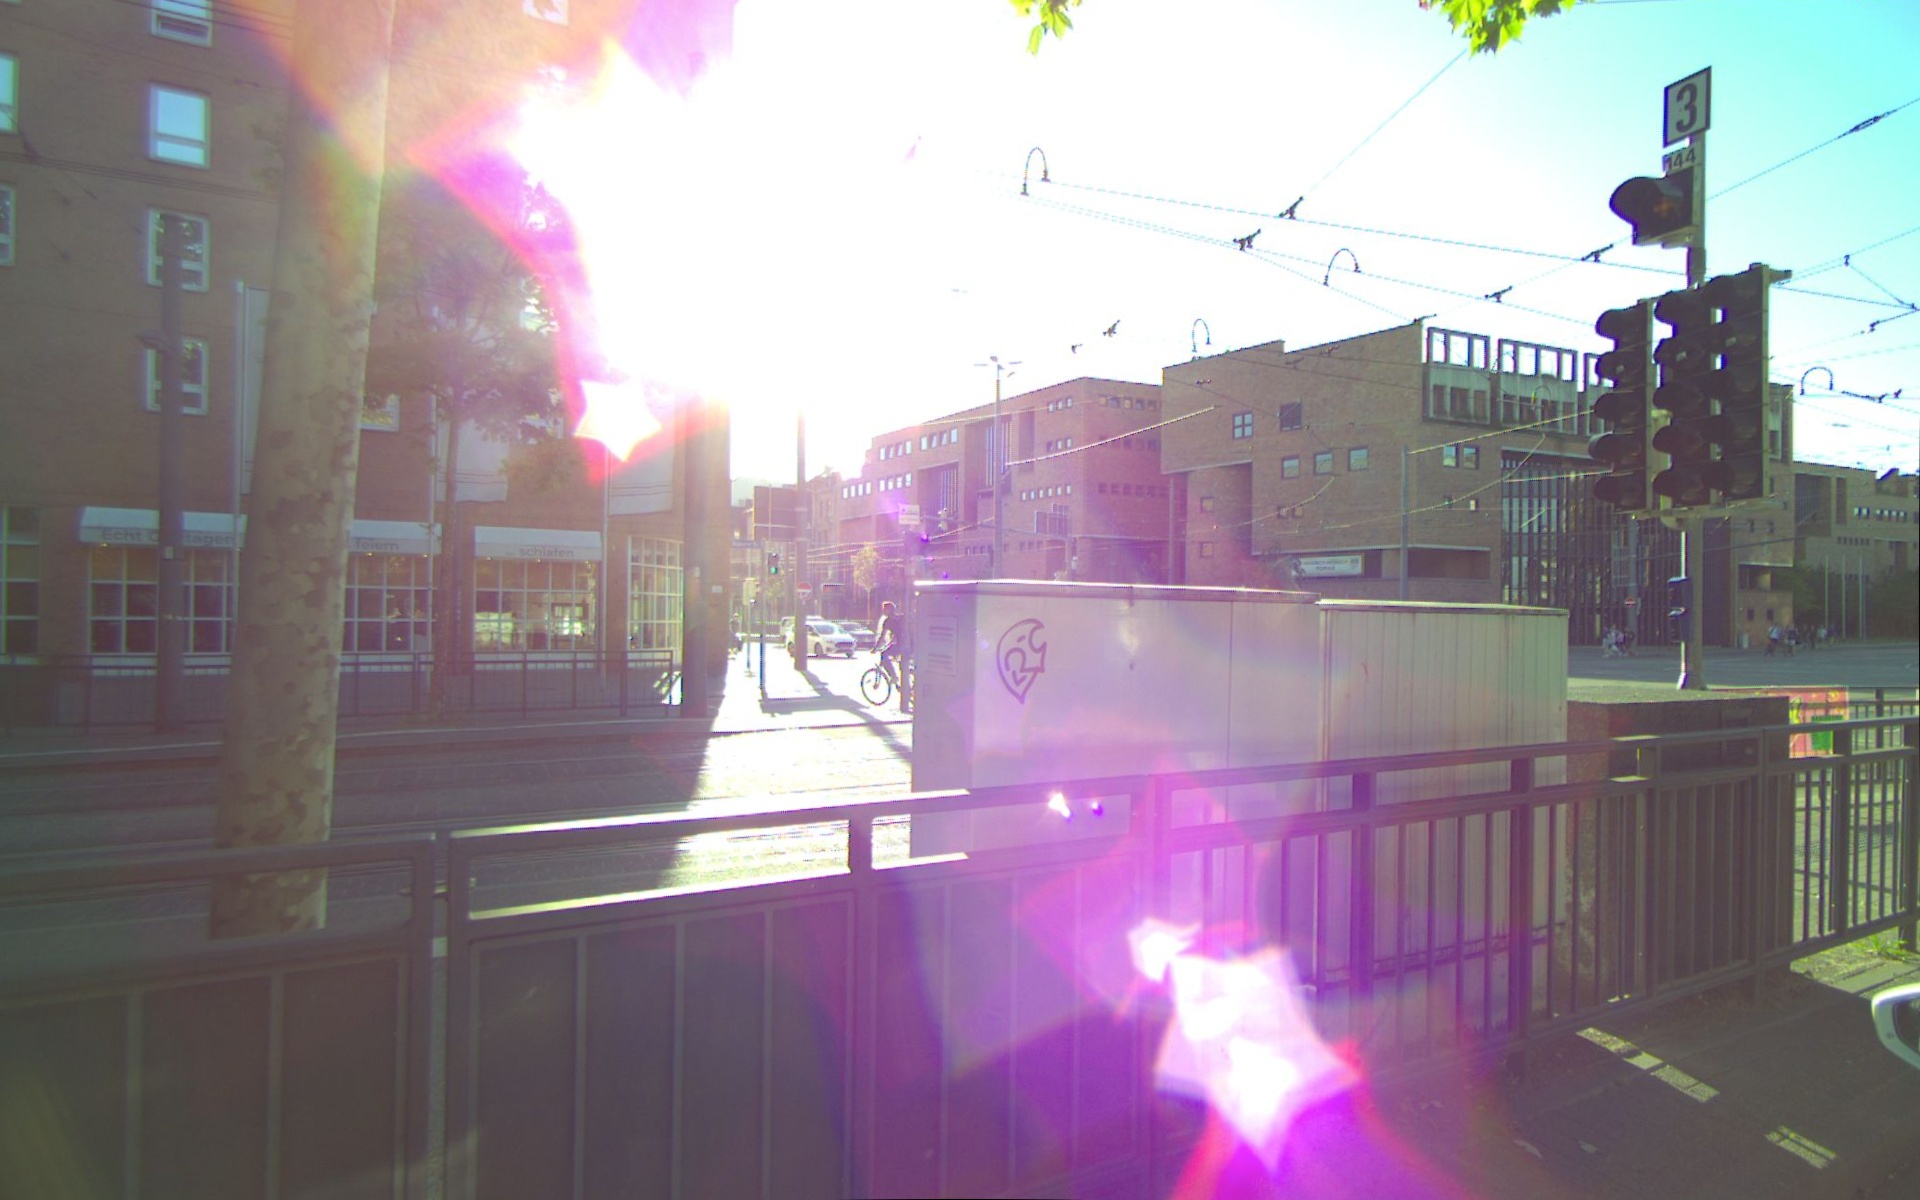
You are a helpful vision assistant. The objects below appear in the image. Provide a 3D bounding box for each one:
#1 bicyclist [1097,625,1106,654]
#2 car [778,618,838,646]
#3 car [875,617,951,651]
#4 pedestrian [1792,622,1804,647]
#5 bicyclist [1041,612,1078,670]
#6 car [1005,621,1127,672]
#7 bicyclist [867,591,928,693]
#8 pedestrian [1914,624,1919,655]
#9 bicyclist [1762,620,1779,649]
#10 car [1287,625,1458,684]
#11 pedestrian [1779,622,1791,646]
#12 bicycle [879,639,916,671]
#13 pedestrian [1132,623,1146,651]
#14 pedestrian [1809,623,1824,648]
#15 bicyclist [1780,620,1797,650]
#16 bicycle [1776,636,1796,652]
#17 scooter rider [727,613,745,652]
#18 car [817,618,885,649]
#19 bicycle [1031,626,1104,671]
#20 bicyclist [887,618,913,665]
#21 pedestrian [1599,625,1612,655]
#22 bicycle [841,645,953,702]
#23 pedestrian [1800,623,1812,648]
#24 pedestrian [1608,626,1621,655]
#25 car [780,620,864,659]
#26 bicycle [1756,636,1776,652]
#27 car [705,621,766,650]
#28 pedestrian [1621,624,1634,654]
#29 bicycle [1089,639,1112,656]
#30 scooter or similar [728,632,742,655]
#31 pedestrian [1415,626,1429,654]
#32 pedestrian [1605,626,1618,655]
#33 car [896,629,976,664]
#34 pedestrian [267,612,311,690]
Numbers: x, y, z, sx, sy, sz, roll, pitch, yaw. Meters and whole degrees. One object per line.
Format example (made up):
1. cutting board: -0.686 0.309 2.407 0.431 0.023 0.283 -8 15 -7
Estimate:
1. bicyclist: 10.305 2.876 73.210 0.447 2.087 0.557 1 -1 -34
2. car: -9.604 1.993 63.167 1.981 1.719 4.315 1 -2 -36
3. car: -2.523 1.796 53.325 1.981 1.719 4.315 1 -2 -36
4. pedestrian: 63.685 2.628 76.320 0.538 1.834 0.488 1 -1 -23
5. bicyclist: 2.952 1.201 29.890 0.683 1.703 0.899 1 -1 -31
6. car: 3.544 1.534 34.340 1.805 1.604 4.457 1 -1 -32
7. bicyclist: -1.151 0.764 18.513 0.839 1.809 0.750 -1 -1 37
8. pedestrian: 47.445 1.946 49.362 0.503 1.550 0.749 1 0 -37
9. bicyclist: 46.591 1.984 57.743 0.782 1.697 0.589 1 -1 -36
10. car: 11.175 1.435 27.435 1.979 1.476 3.931 1 -2 -33
11. pedestrian: 63.161 2.616 76.890 0.538 1.834 0.488 1 -1 -23
12. bicycle: -2.303 2.004 36.806 0.621 1.078 1.916 1 -1 -27
13. pedestrian: 10.761 2.195 60.320 0.608 1.635 0.539 -1 2 -35
14. pedestrian: 64.092 2.639 75.165 0.538 1.834 0.640 1 -1 -23
15. bicyclist: 47.175 2.001 57.208 0.782 1.697 0.589 1 -1 -36
16. bicycle: 47.072 2.520 57.263 1.823 0.893 0.509 1 -1 -38
17. scooter rider: -11.020 1.604 49.351 0.727 1.921 0.661 1 -1 -27
18. car: -6.326 1.926 57.918 1.981 1.719 4.315 1 -2 -36
19. bicycle: 3.158 1.406 29.672 1.060 1.243 2.146 0 0 -31
20. bicyclist: -2.208 1.491 36.685 0.631 1.686 0.901 1 -1 -27
21. pedestrian: 36.275 2.235 56.423 0.530 1.672 0.622 -1 -1 41
22. bicycle: -1.191 1.334 18.540 2.149 0.946 0.665 0 -1 37
23. pedestrian: 62.923 2.628 74.726 0.538 1.803 0.521 1 -1 -23
24. pedestrian: 37.868 2.351 58.119 0.530 1.672 0.622 -1 -1 41
25. car: -6.695 1.861 48.326 1.980 1.750 4.802 1 -1 -35
26. bicycle: 46.419 2.550 57.819 1.823 0.893 0.509 1 -1 -38
27. car: -13.077 2.017 58.376 1.980 1.538 4.356 0 0 -35
28. pedestrian: 37.449 2.167 56.328 0.530 1.672 0.622 -1 -1 42
29. bicycle: 10.244 3.456 73.287 0.448 1.255 2.077 1 -2 -34
30. scooter or similar: -11.028 2.120 49.280 0.397 1.119 1.202 1 -1 -27
31. pedestrian: 26.683 2.308 58.059 0.560 1.635 0.545 0 -1 1
32. pedestrian: 37.361 2.321 57.597 0.530 1.672 0.622 -1 -1 41
33. car: -1.122 2.089 45.508 1.807 1.453 3.884 1 -1 -35
34. pedestrian: -14.216 1.073 21.287 0.717 1.606 0.586 1 1 -31
